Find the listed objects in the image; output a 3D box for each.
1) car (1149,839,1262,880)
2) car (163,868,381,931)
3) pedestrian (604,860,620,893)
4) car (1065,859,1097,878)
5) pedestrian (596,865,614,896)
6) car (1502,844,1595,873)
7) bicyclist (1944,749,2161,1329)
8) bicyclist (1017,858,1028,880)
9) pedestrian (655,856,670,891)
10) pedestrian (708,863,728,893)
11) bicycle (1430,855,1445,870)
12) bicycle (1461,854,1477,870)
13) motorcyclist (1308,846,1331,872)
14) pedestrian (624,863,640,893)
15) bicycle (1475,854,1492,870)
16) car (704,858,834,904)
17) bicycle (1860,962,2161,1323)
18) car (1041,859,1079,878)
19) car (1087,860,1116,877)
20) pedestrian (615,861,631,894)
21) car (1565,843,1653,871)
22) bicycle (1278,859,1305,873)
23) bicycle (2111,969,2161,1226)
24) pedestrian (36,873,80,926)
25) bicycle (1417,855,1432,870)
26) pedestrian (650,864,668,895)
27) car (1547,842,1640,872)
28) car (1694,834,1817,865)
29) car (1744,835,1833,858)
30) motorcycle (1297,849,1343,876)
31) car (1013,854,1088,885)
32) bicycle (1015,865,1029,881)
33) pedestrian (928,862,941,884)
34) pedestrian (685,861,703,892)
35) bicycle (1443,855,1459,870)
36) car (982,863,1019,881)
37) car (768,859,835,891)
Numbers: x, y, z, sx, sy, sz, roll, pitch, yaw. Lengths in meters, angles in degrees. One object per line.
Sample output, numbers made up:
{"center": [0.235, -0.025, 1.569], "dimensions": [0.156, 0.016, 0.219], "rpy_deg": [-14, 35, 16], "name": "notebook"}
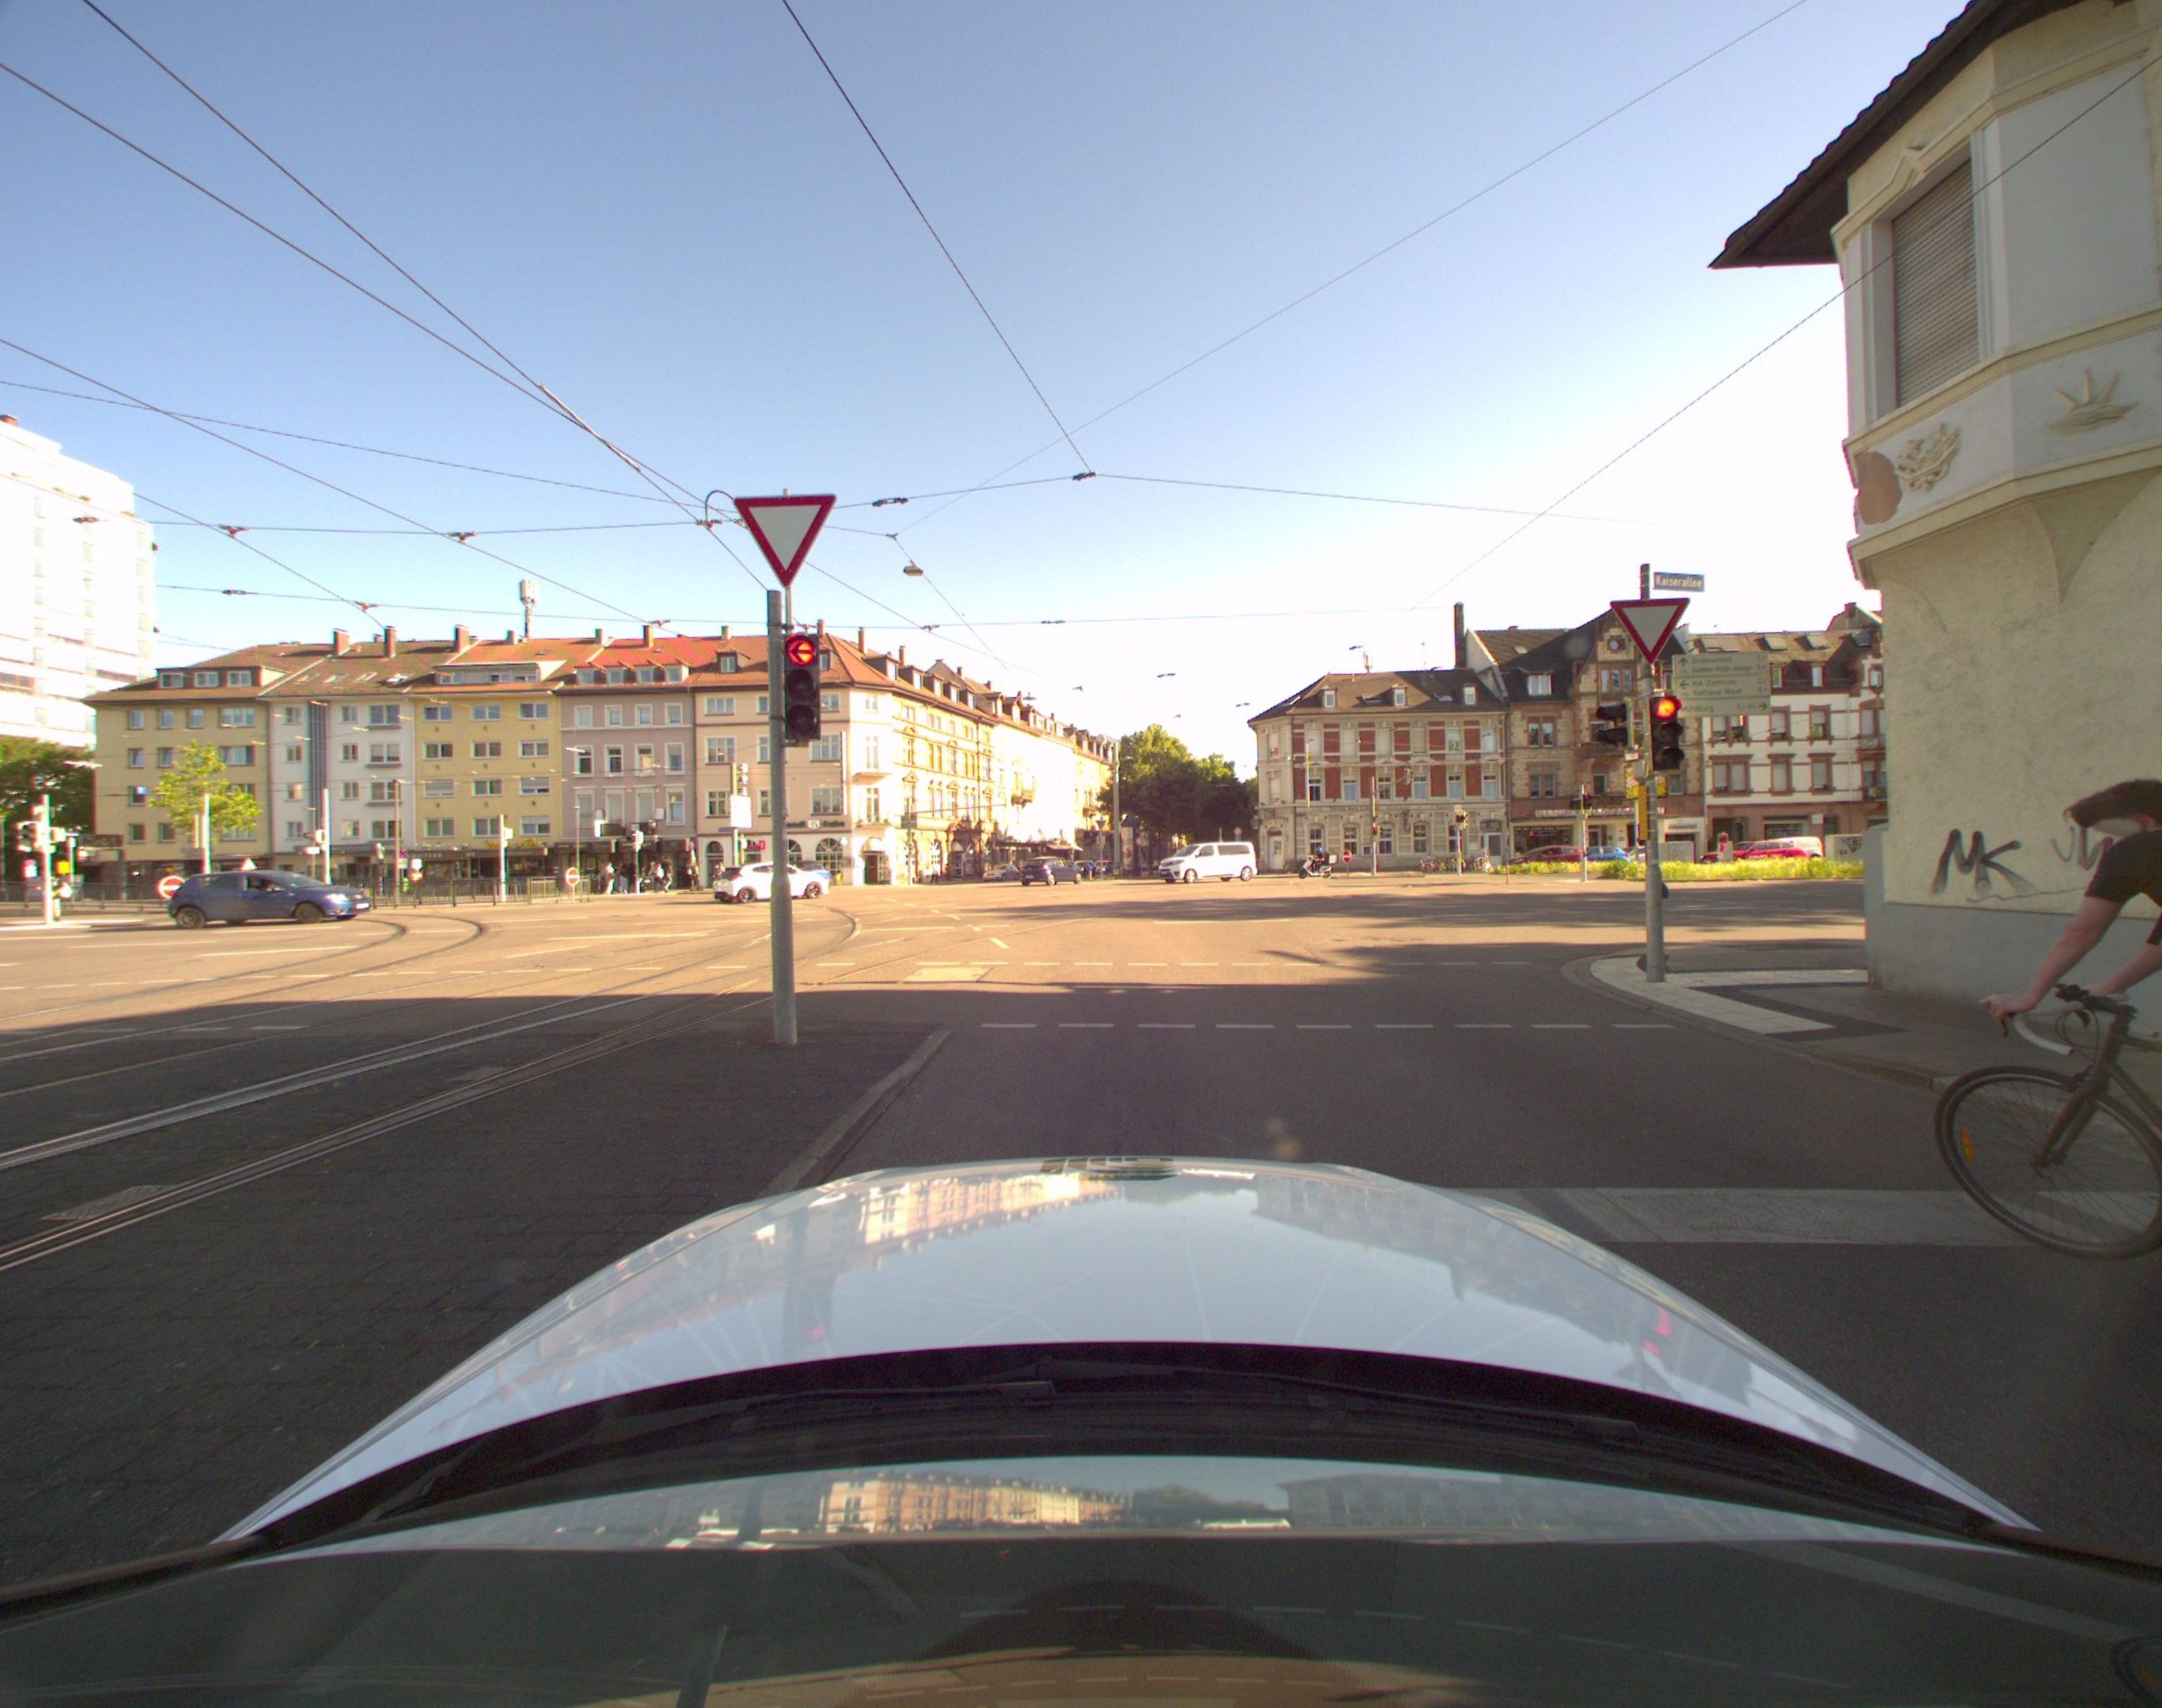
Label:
{"center": [6.039, 0.250, 39.315], "dimensions": [5.228, 1.854, 1.982], "rpy_deg": [-1, 0, -28], "name": "car"}
{"center": [-22.531, 1.234, 22.859], "dimensions": [3.913, 1.503, 1.781], "rpy_deg": [-2, 0, -15], "name": "car"}
{"center": [-23.729, 1.153, 41.239], "dimensions": [0.520, 1.648, 0.498], "rpy_deg": [0, -1, 1], "name": "pedestrian"}
{"center": [0.037, 1.289, 73.673], "dimensions": [1.809, 1.685, 3.893], "rpy_deg": [-1, -1, 18], "name": "car"}
{"center": [-25.008, 1.385, 42.804], "dimensions": [0.582, 1.648, 0.616], "rpy_deg": [0, -1, 1], "name": "pedestrian"}
{"center": [24.040, 0.228, 41.968], "dimensions": [3.854, 1.426, 1.596], "rpy_deg": [-1, 0, 2], "name": "car"}
{"center": [3.584, 0.563, 2.630], "dimensions": [0.587, 1.767, 0.936], "rpy_deg": [0, -1, 2], "name": "bicyclist"}
{"center": [-4.729, 1.205, 65.525], "dimensions": [0.561, 1.804, 0.918], "rpy_deg": [-1, -1, 17], "name": "bicyclist"}
{"center": [-21.519, 0.996, 41.881], "dimensions": [0.528, 1.823, 0.673], "rpy_deg": [0, -1, -13], "name": "pedestrian"}
{"center": [-19.653, 1.300, 44.083], "dimensions": [0.666, 1.594, 0.815], "rpy_deg": [0, -1, 1], "name": "pedestrian"}
{"center": [23.261, 0.567, 53.093], "dimensions": [0.758, 0.968, 2.221], "rpy_deg": [-1, -1, 20], "name": "bicycle"}
{"center": [25.206, 0.539, 52.920], "dimensions": [0.758, 1.007, 2.231], "rpy_deg": [-1, -1, 20], "name": "bicycle"}
{"center": [12.082, 0.279, 41.339], "dimensions": [1.009, 1.300, 0.791], "rpy_deg": [0, -1, 7], "name": "motorcyclist"}
{"center": [-22.715, 1.212, 41.169], "dimensions": [0.489, 1.492, 0.556], "rpy_deg": [0, -1, 1], "name": "pedestrian"}
{"center": [26.021, 0.530, 52.680], "dimensions": [0.785, 1.016, 2.221], "rpy_deg": [-1, -1, 20], "name": "bicycle"}
{"center": [-11.488, 0.960, 30.129], "dimensions": [1.874, 1.454, 4.033], "rpy_deg": [-2, 1, 44], "name": "car"}
{"center": [3.588, 0.956, 2.626], "dimensions": [0.480, 0.991, 1.783], "rpy_deg": [0, -1, 2], "name": "bicycle"}
{"center": [-1.690, 1.178, 67.450], "dimensions": [1.788, 1.585, 4.179], "rpy_deg": [-1, -1, 19], "name": "car"}
{"center": [2.048, 1.385, 79.815], "dimensions": [1.788, 1.575, 3.908], "rpy_deg": [-1, -1, 17], "name": "car"}
{"center": [-23.160, 1.187, 41.208], "dimensions": [0.520, 1.648, 0.498], "rpy_deg": [0, -1, 1], "name": "pedestrian"}
{"center": [31.018, 0.178, 47.926], "dimensions": [3.970, 1.622, 1.806], "rpy_deg": [0, -1, 3], "name": "car"}
{"center": [14.709, 0.826, 56.920], "dimensions": [1.789, 0.963, 0.606], "rpy_deg": [-1, -1, 16], "name": "bicycle"}
{"center": [4.458, 0.959, 2.447], "dimensions": [0.501, 0.983, 1.783], "rpy_deg": [0, -1, 2], "name": "bicycle"}
{"center": [-31.683, 1.399, 25.236], "dimensions": [0.770, 1.609, 0.605], "rpy_deg": [0, -1, -44], "name": "pedestrian"}
{"center": [22.506, 0.574, 53.360], "dimensions": [0.758, 0.963, 2.221], "rpy_deg": [-1, -1, 20], "name": "bicycle"}
{"center": [-22.690, 1.378, 43.821], "dimensions": [0.571, 1.648, 0.727], "rpy_deg": [0, -1, 1], "name": "pedestrian"}
{"center": [28.329, 0.175, 45.117], "dimensions": [3.970, 1.622, 1.806], "rpy_deg": [0, -1, 3], "name": "car"}
{"center": [34.735, -0.242, 42.031], "dimensions": [4.839, 1.469, 1.805], "rpy_deg": [-1, 1, 2], "name": "car"}
{"center": [45.486, -0.448, 52.413], "dimensions": [3.961, 1.438, 1.874], "rpy_deg": [0, -1, 5], "name": "car"}
{"center": [12.121, 0.426, 41.330], "dimensions": [2.123, 1.333, 0.798], "rpy_deg": [0, -1, 7], "name": "motorcycle"}
{"center": [-1.474, 0.742, 40.736], "dimensions": [1.808, 1.403, 4.025], "rpy_deg": [-1, 0, 32], "name": "car"}
{"center": [-4.720, 1.488, 65.514], "dimensions": [0.561, 1.254, 1.564], "rpy_deg": [-1, -1, 17], "name": "bicycle"}
{"center": [-11.109, 1.441, 61.834], "dimensions": [0.562, 1.642, 0.797], "rpy_deg": [-1, -1, 25], "name": "pedestrian"}
{"center": [-21.073, 1.212, 44.328], "dimensions": [0.580, 1.648, 0.840], "rpy_deg": [0, -1, 1], "name": "pedestrian"}
{"center": [24.048, 0.560, 52.969], "dimensions": [0.758, 0.983, 2.221], "rpy_deg": [-1, -1, 20], "name": "bicycle"}
{"center": [-6.604, 1.475, 67.392], "dimensions": [1.647, 1.374, 3.909], "rpy_deg": [-1, -1, 17], "name": "car"}
{"center": [-14.799, 1.062, 42.993], "dimensions": [1.841, 1.575, 4.148], "rpy_deg": [-1, 0, -43], "name": "car"}
